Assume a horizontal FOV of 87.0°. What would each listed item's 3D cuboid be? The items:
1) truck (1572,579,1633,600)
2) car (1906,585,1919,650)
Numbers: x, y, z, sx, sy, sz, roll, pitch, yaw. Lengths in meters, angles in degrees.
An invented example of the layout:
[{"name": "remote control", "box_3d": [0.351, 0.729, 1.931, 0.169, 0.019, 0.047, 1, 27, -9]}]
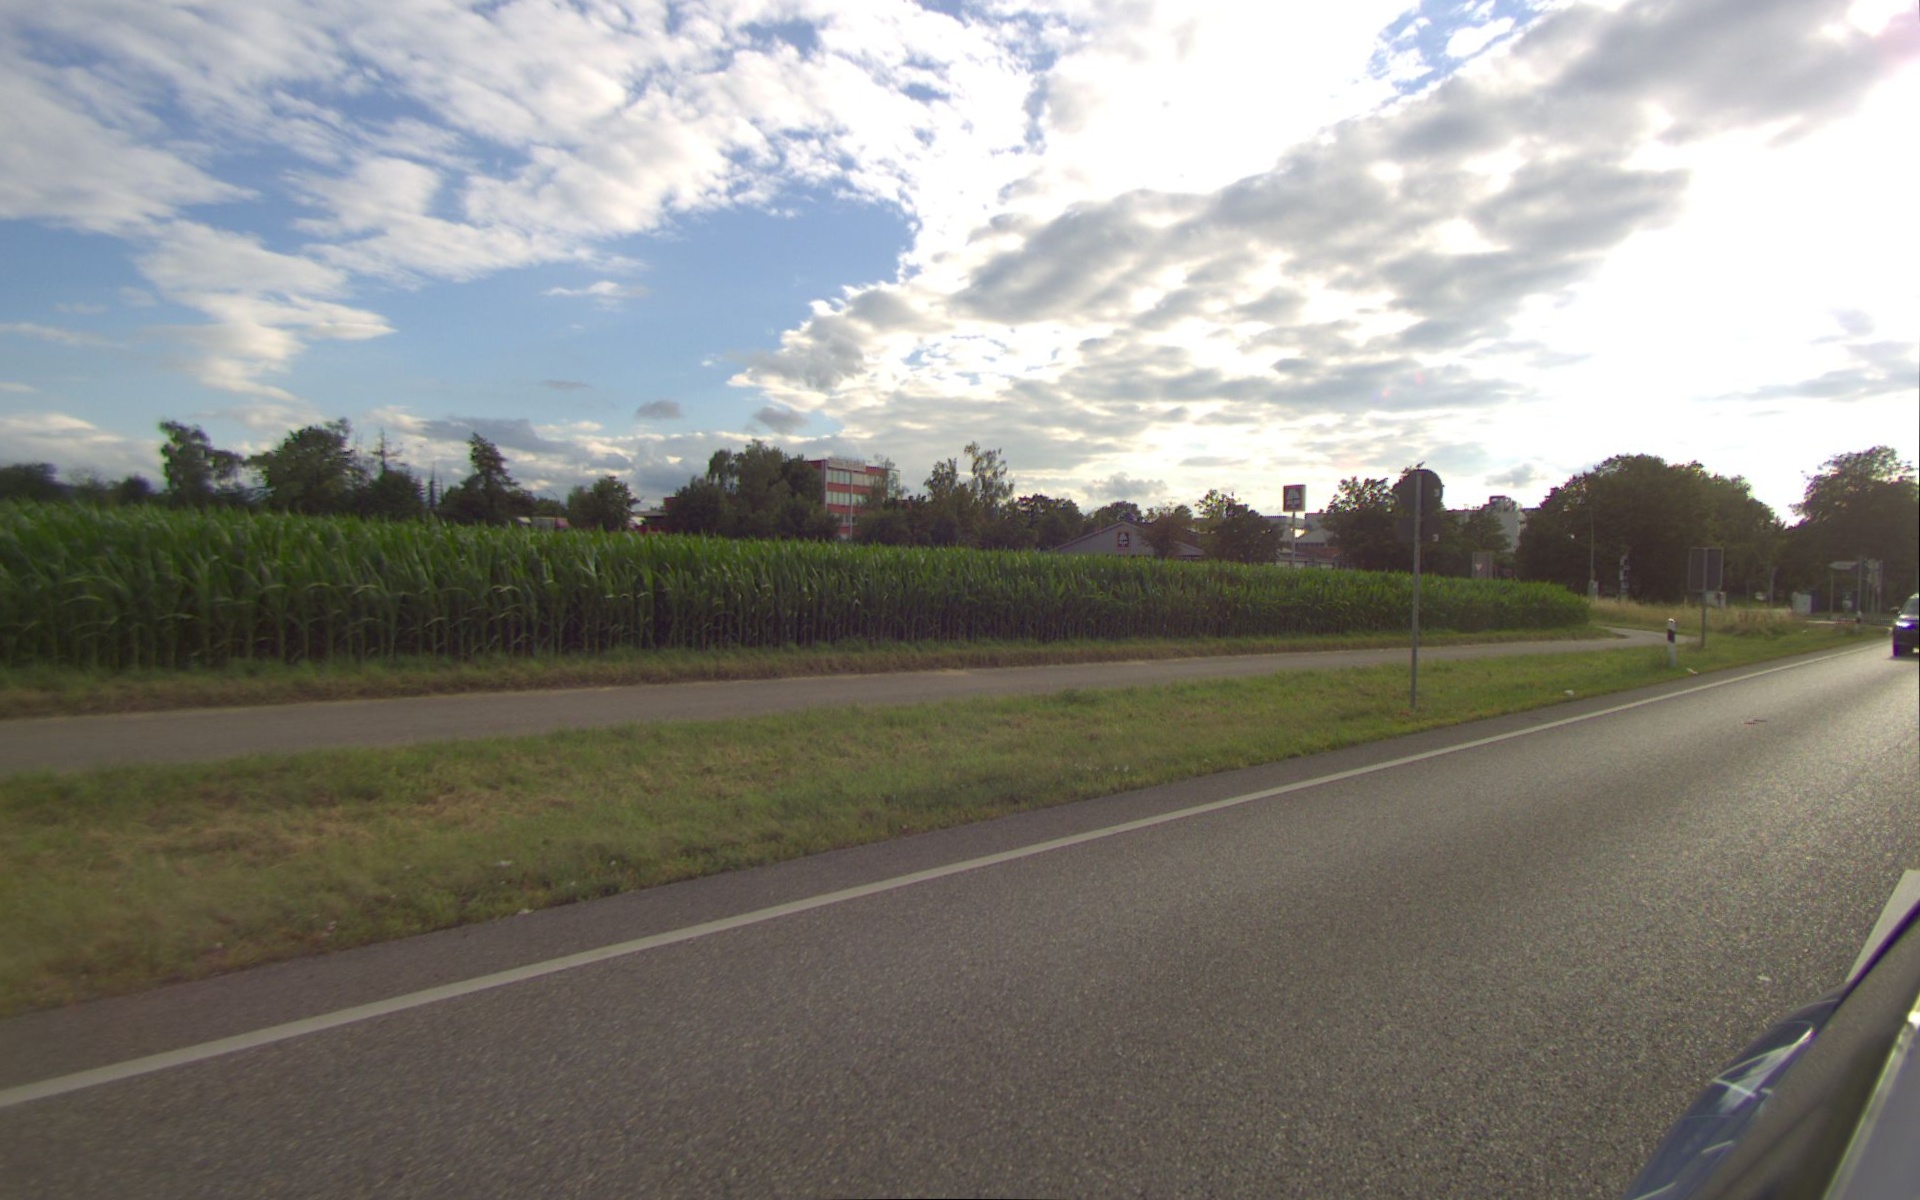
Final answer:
[{"name": "truck", "box_3d": [61.677, -1.015, 97.215, 4.599, 2.022, 1.817, 0, 0, 13]}, {"name": "car", "box_3d": [27.060, 0.446, 27.381, 4.405, 1.671, 1.846, 0, 0, -43]}]
